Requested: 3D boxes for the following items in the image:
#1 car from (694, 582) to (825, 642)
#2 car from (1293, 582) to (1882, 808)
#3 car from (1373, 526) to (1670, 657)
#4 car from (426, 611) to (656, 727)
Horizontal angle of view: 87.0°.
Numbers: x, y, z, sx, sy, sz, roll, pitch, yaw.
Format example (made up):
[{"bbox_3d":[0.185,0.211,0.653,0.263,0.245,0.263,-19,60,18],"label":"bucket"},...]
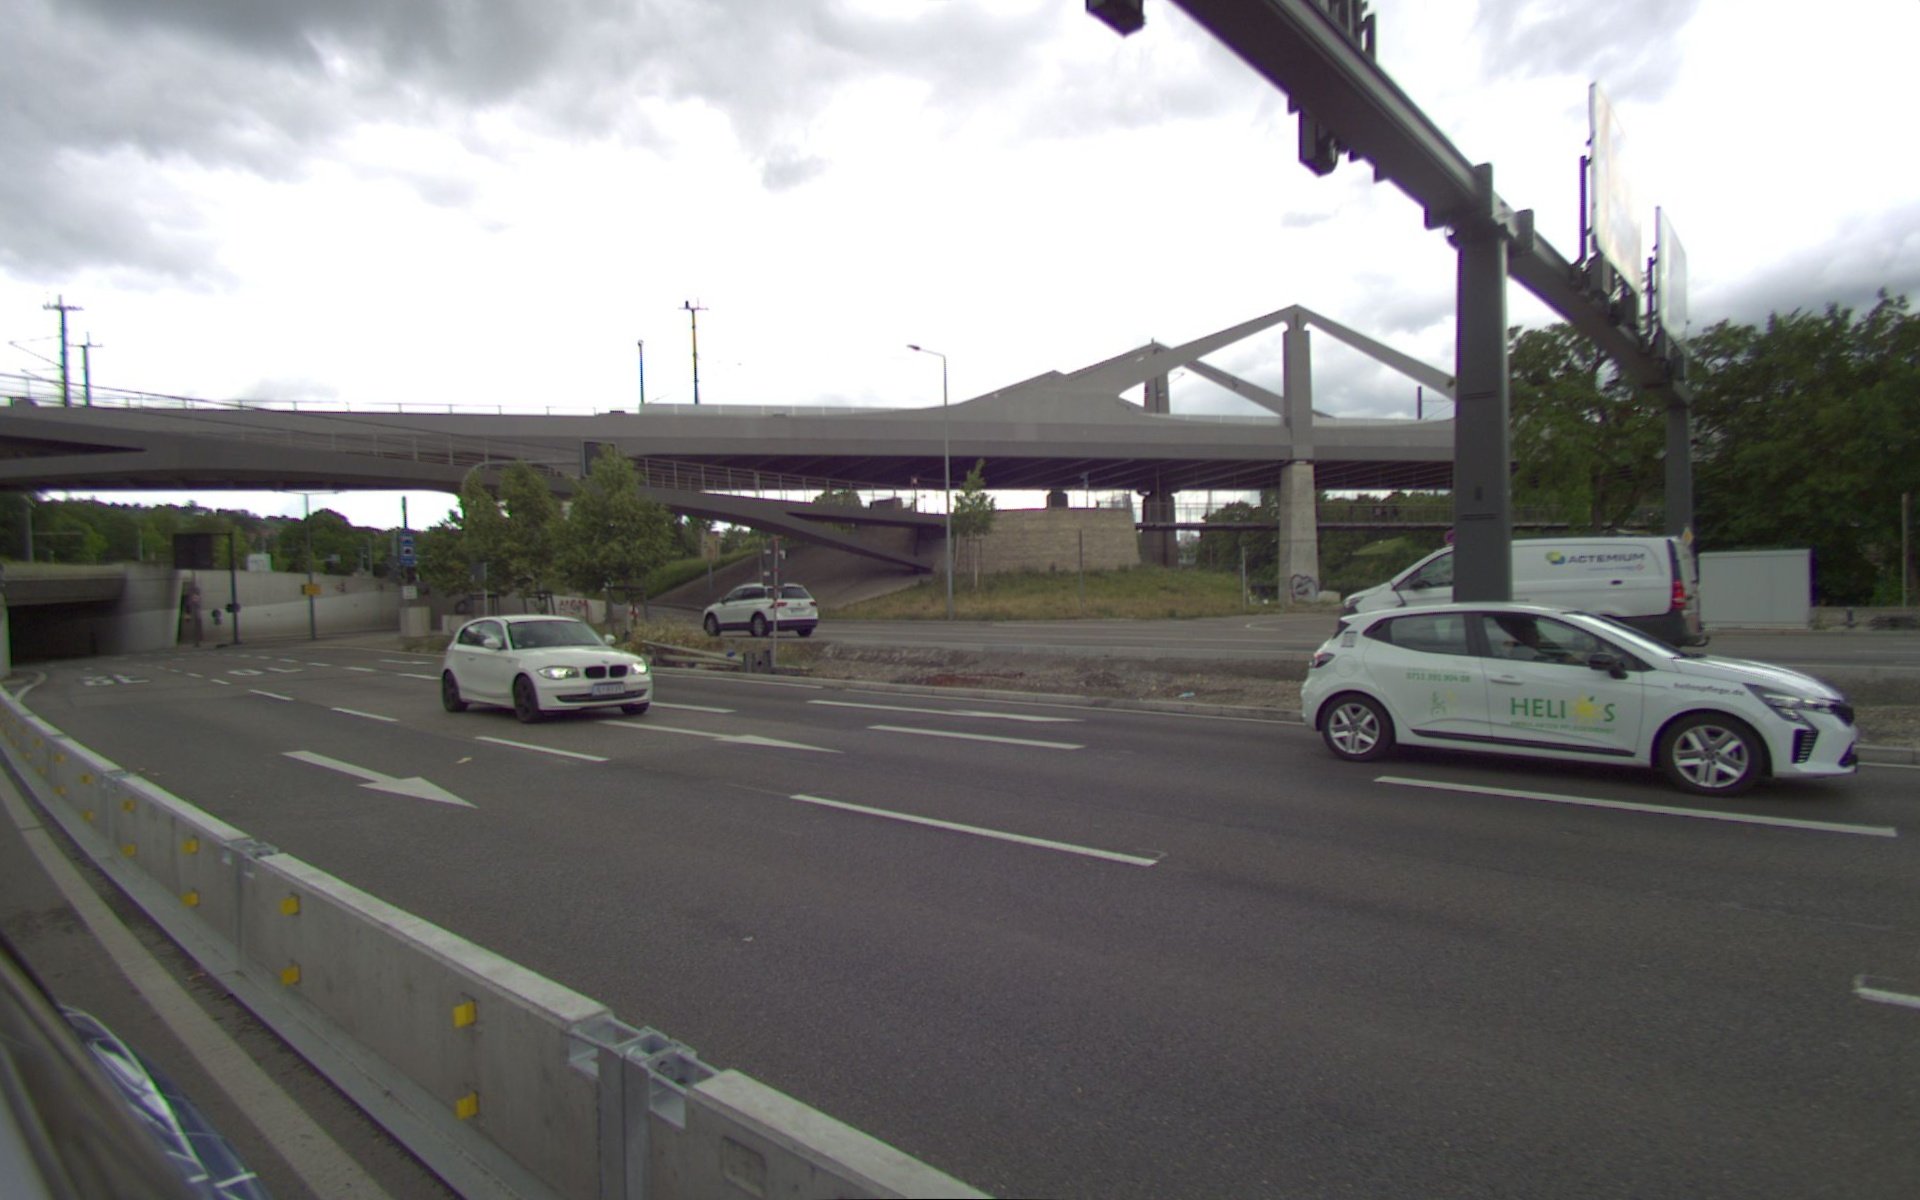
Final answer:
[{"bbox_3d":[-6.206,0.388,31.015,4.289,1.674,1.780,-2,1,44],"label":"car"},{"bbox_3d":[5.095,0.664,8.609,3.996,1.495,1.559,-2,-1,42],"label":"car"},{"bbox_3d":[8.815,-0.103,16.043,3.799,1.820,1.807,-2,1,41],"label":"car"},{"bbox_3d":[-6.122,0.879,14.560,3.983,1.444,1.620,0,-1,44],"label":"car"}]
